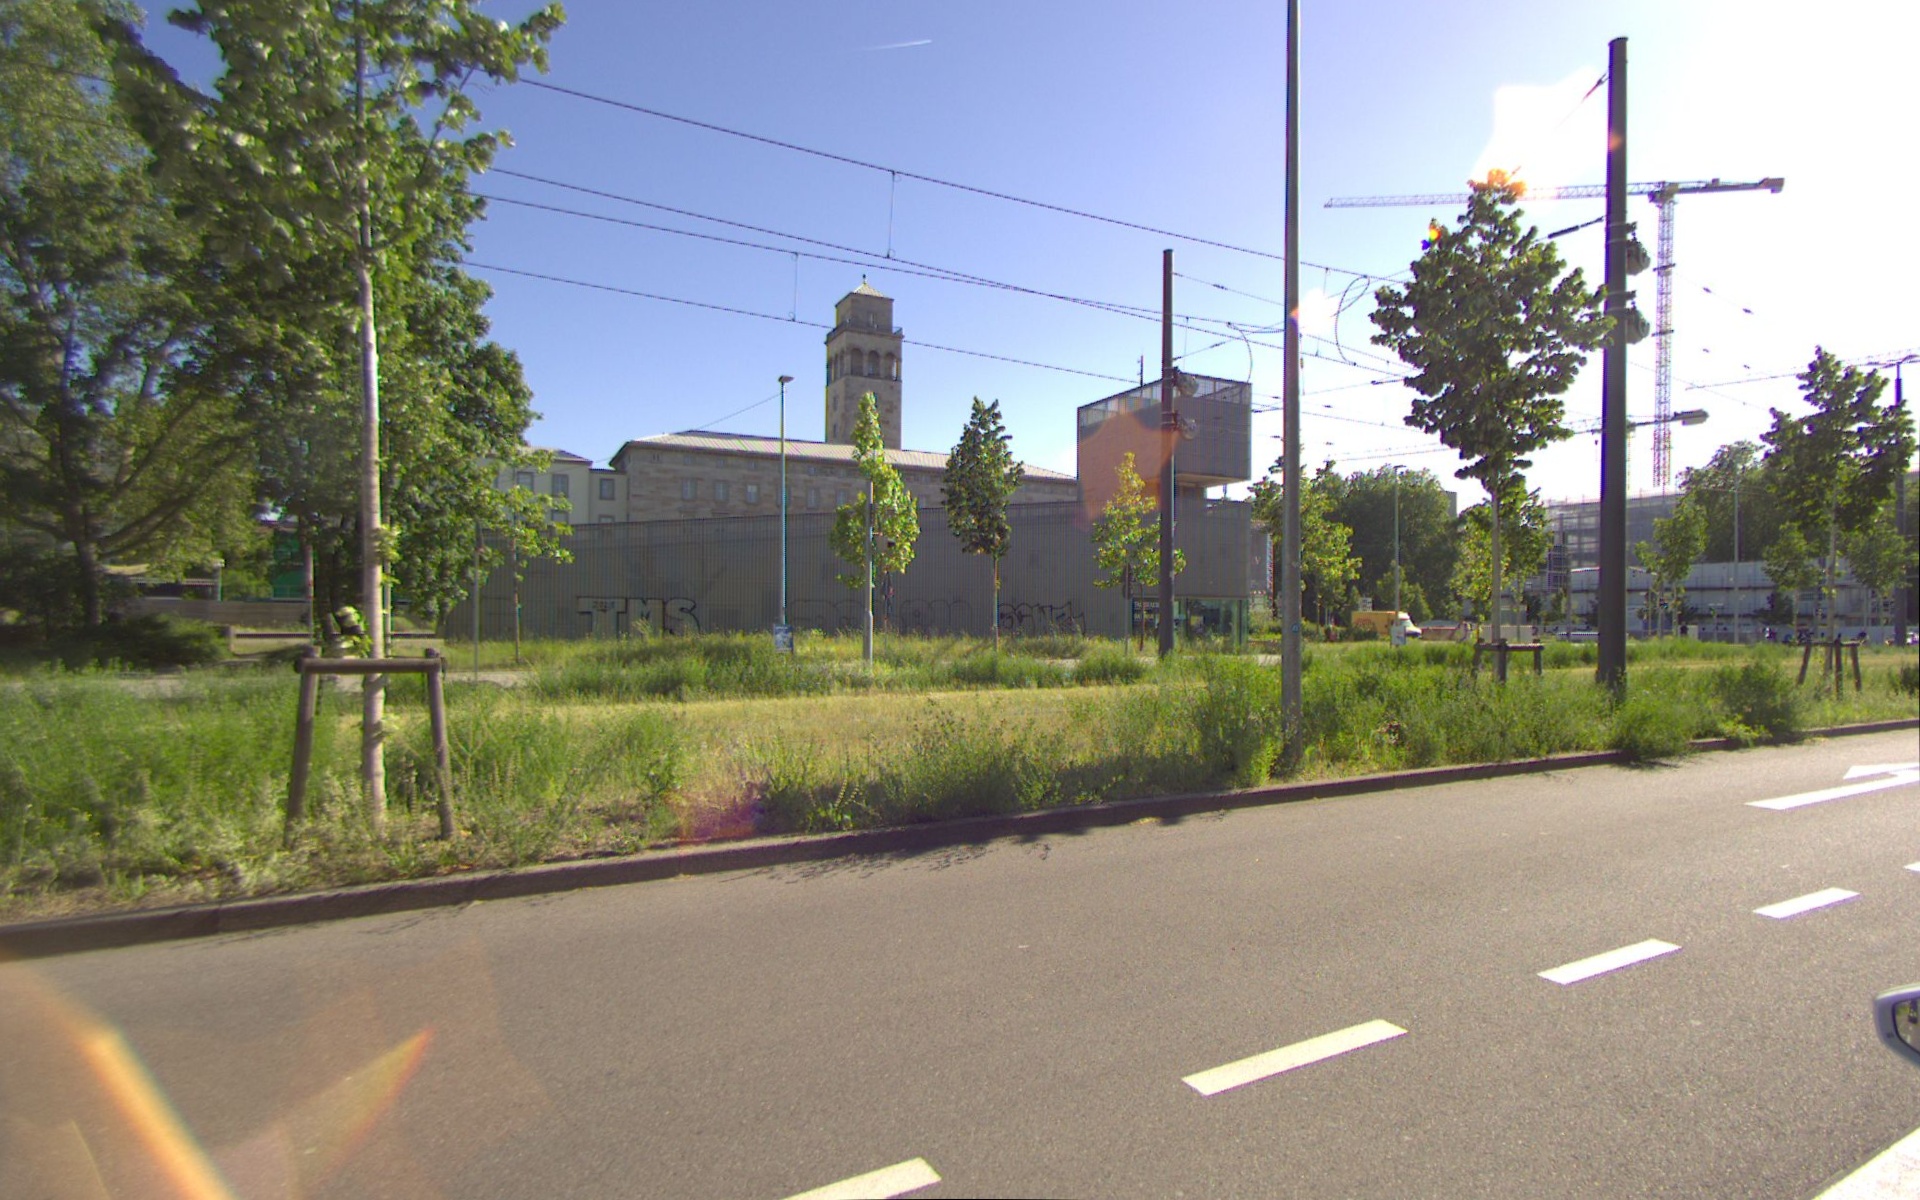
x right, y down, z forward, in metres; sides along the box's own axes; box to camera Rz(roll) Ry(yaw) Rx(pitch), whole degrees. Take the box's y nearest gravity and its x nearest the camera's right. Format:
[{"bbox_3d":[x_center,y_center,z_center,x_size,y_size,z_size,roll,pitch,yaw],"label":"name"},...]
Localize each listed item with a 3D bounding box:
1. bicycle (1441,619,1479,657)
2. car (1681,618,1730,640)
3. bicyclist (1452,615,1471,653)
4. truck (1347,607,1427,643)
[{"bbox_3d":[19.836,1.494,39.853,1.891,1.475,0.358,1,0,-30],"label":"bicycle"},{"bbox_3d":[60.814,2.365,81.908,3.953,1.577,1.702,2,1,-30],"label":"car"},{"bbox_3d":[19.913,1.341,39.893,0.533,1.474,0.392,1,1,-31],"label":"bicyclist"},{"bbox_3d":[39.862,2.280,94.003,1.977,3.002,6.930,2,1,-30],"label":"truck"}]
